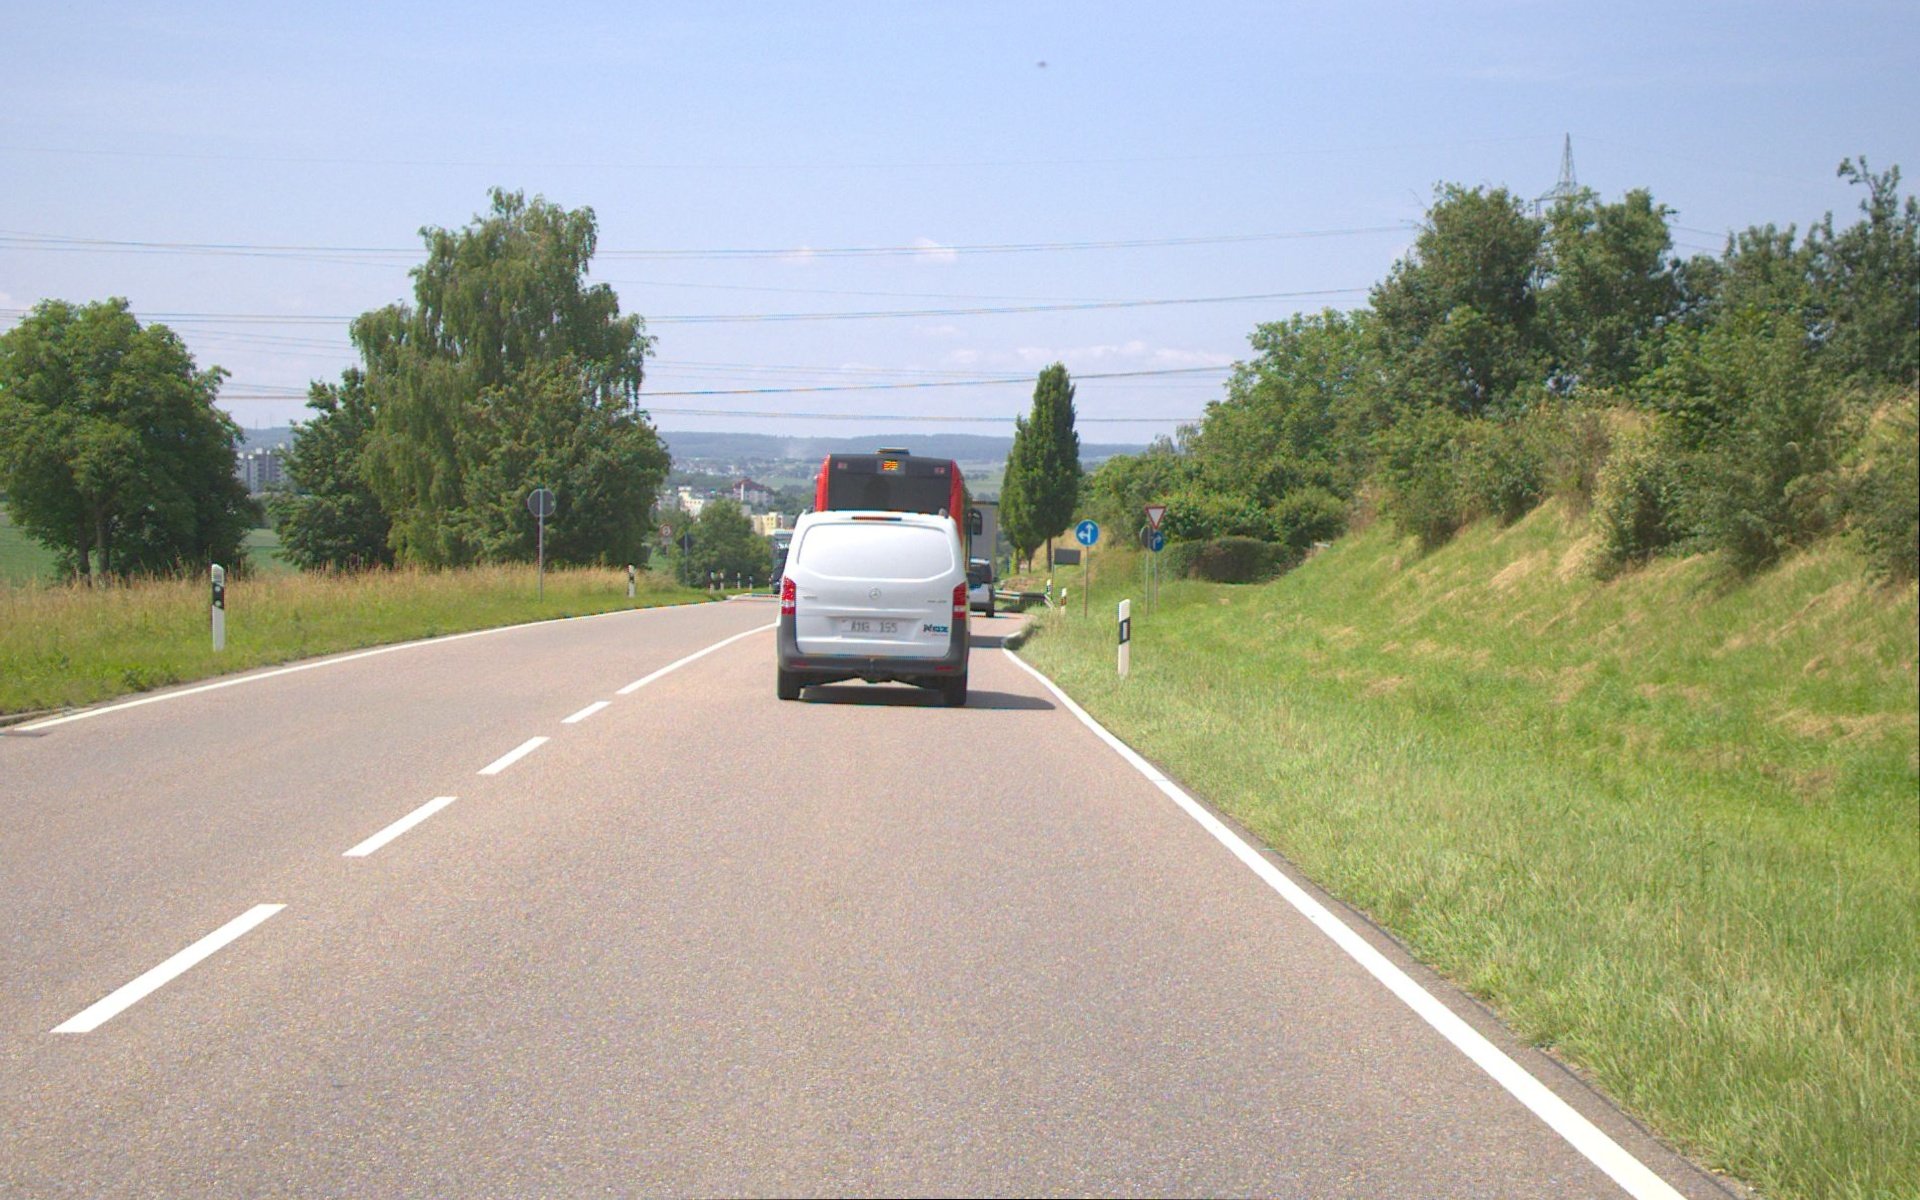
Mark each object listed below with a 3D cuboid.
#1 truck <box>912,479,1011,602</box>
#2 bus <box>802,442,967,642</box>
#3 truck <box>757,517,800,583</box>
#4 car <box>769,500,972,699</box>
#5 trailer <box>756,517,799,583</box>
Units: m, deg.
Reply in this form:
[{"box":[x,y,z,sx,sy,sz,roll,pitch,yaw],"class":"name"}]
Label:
[{"box":[-0.029,-2.237,131.139,3.488,4.408,14.903,1,1,-1],"class":"truck"},{"box":[-1.340,-1.233,64.701,2.747,3.342,13.223,0,2,-1],"class":"bus"},{"box":[-11.668,-3.201,220.362,2.585,4.090,5.442,2,0,-3],"class":"truck"},{"box":[-0.871,-0.041,34.826,1.923,1.883,4.000,1,1,-1],"class":"car"},{"box":[-12.070,-3.260,227.295,2.592,4.129,13.743,2,0,-3],"class":"trailer"}]
